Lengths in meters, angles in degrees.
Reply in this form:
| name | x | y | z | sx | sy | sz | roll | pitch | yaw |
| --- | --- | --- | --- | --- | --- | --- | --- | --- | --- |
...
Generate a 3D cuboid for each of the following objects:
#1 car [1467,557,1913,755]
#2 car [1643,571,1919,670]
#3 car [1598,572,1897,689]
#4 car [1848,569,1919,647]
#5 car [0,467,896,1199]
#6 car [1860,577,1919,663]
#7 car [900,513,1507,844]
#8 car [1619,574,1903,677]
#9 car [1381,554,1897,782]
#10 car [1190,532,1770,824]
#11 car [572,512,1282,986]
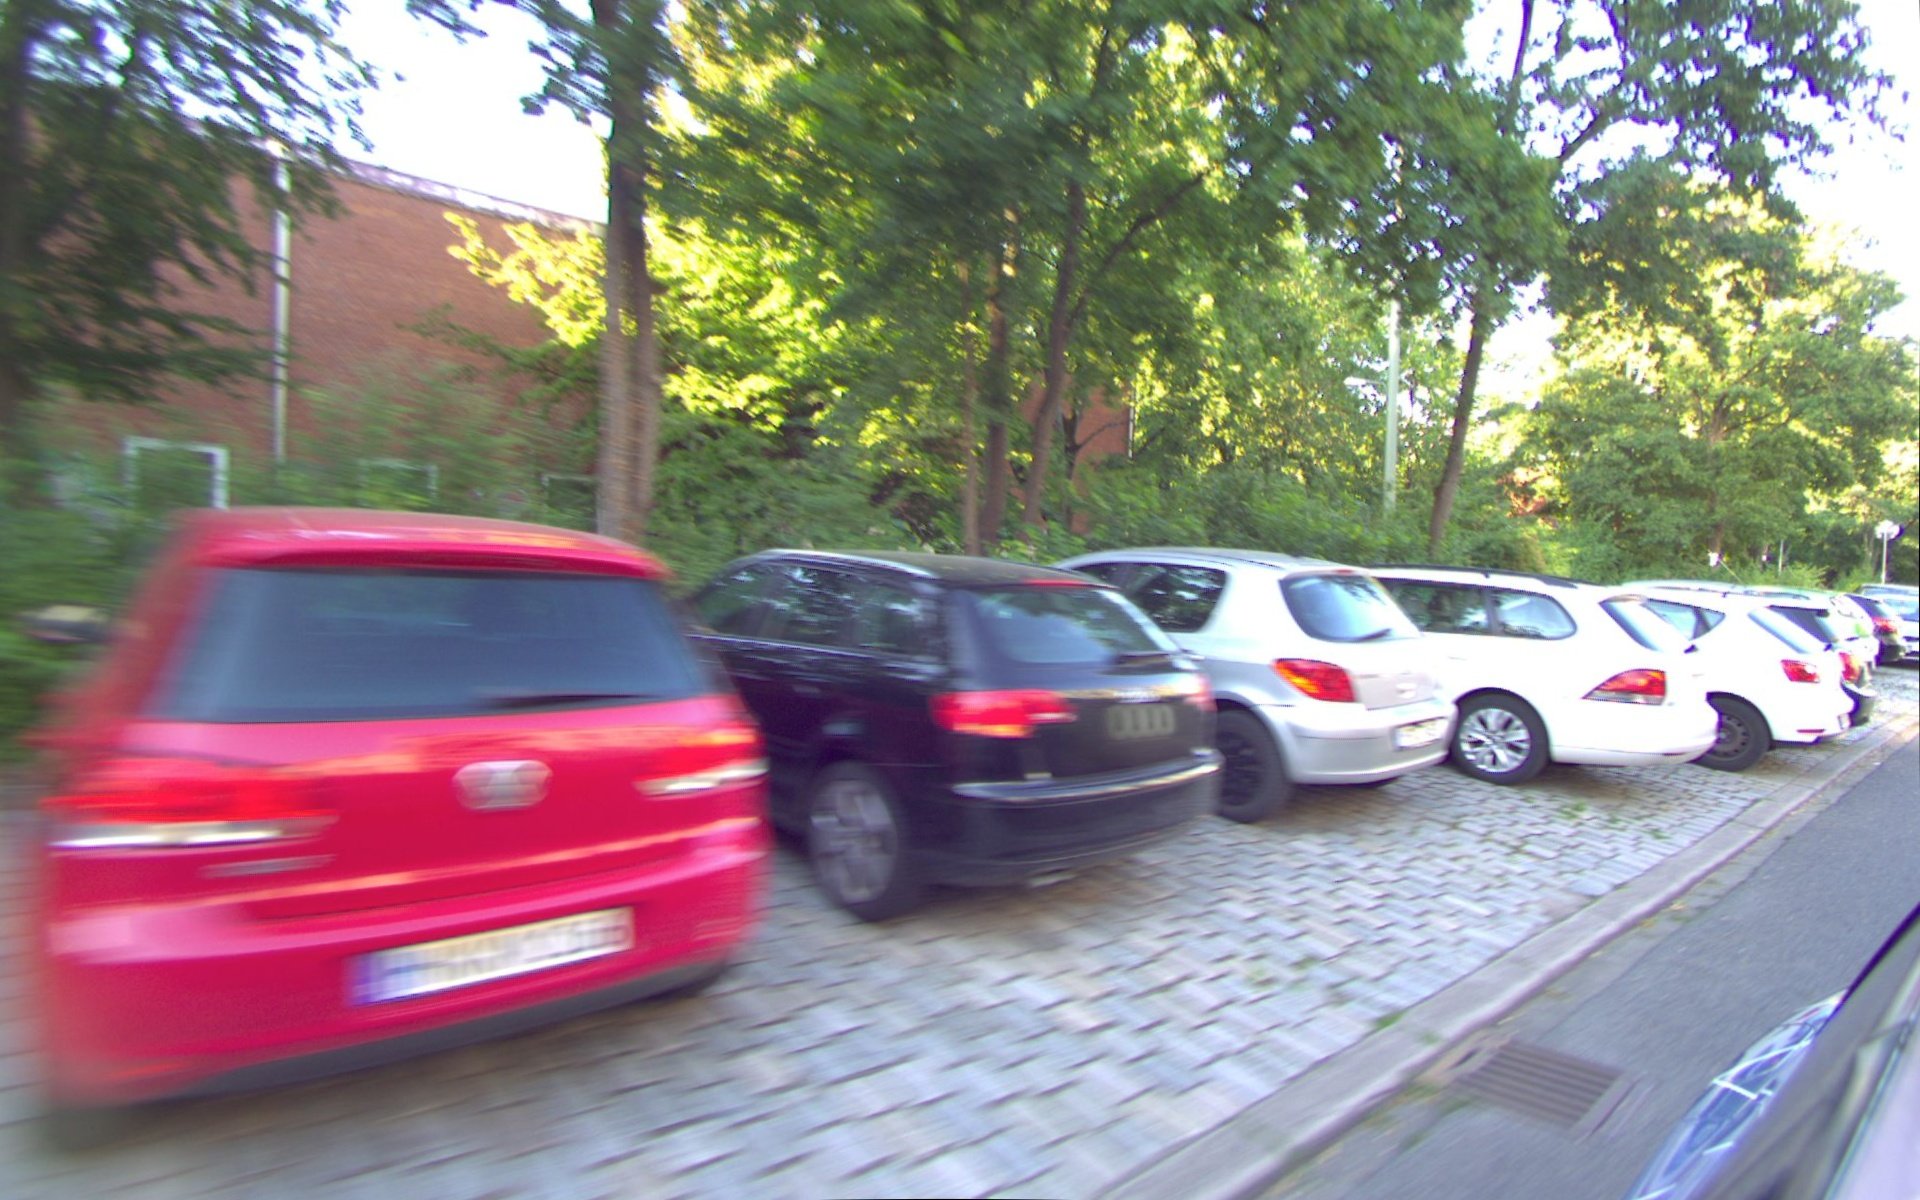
| name | x | y | z | sx | sy | sz | roll | pitch | yaw |
| --- | --- | --- | --- | --- | --- | --- | --- | --- | --- |
| car | 7.864 | 0.457 | 11.151 | 1.643 | 1.543 | 3.618 | 0 | 6 | -42 |
| car | 15.667 | 0.307 | 19.375 | 1.709 | 1.530 | 3.958 | 0 | 4 | -41 |
| car | 12.202 | 0.384 | 15.824 | 1.642 | 1.544 | 3.393 | 0 | 3 | -40 |
| car | 23.870 | 0.171 | 25.499 | 1.919 | 1.770 | 4.601 | 4 | 3 | 39 |
| car | -2.083 | 0.357 | 3.614 | 1.726 | 1.491 | 3.819 | -1 | 7 | -40 |
| car | 19.772 | 0.403 | 20.843 | 1.651 | 1.586 | 4.233 | 5 | 3 | 43 |
| car | 1.440 | 0.267 | 7.096 | 1.788 | 1.516 | 3.736 | -1 | 7 | -40 |
| car | 13.890 | 0.362 | 17.701 | 1.642 | 1.559 | 3.634 | 0 | 2 | -40 |
| car | 6.239 | 0.463 | 9.609 | 1.705 | 1.461 | 3.675 | 0 | 6 | -42 |
| car | 3.929 | 0.391 | 8.107 | 1.705 | 1.570 | 3.675 | 0 | 6 | -42 |
| car | -0.495 | 0.365 | 5.311 | 1.726 | 1.411 | 3.760 | -1 | 7 | -40 |
